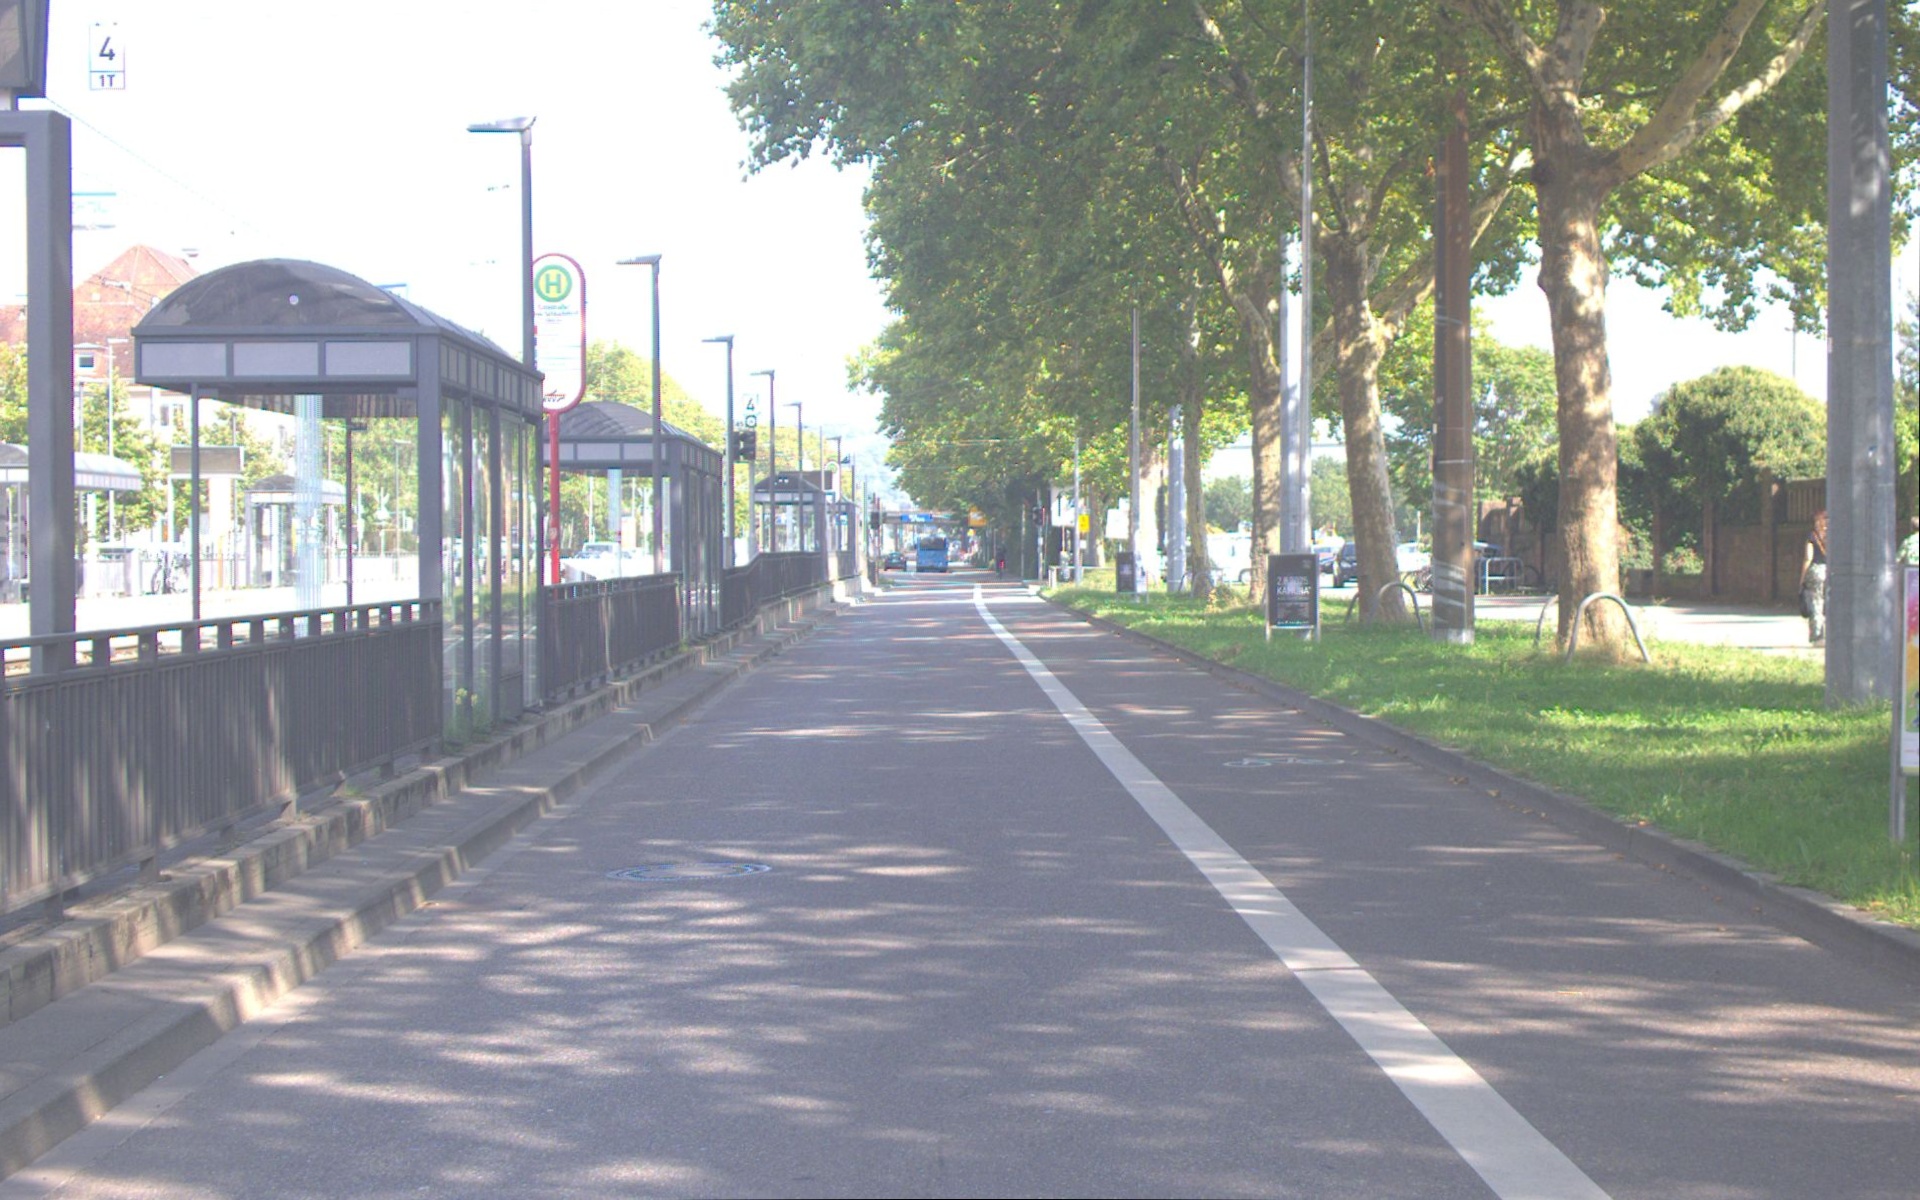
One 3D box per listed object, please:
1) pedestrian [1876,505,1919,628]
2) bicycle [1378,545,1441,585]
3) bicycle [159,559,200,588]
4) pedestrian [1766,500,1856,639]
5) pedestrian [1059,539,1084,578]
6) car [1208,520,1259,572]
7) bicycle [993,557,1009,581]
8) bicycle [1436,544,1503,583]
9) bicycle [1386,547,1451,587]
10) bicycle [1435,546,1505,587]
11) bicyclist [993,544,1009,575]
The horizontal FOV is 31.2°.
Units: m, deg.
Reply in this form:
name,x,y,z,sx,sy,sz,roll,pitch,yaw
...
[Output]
name,x,y,z,sx,sy,sz,roll,pitch,yaw
pedestrian,12.615,-0.453,45.247,0.806,1.598,0.947,-2,1,0
bicycle,11.628,-0.897,88.913,0.505,0.966,1.661,-3,1,-42
bicycle,-18.279,-0.616,80.511,0.477,0.660,1.613,-1,1,4
pedestrian,10.315,-0.373,41.710,0.806,1.630,0.947,-2,1,0
pedestrian,4.630,-1.733,142.526,0.626,1.612,0.843,0,1,37
car,11.073,-2.180,139.380,1.722,2.041,4.462,-1,1,0
bicycle,1.929,-1.462,162.137,0.715,1.104,2.509,1,1,0
bicycle,13.331,-0.953,89.915,1.656,0.966,0.506,-2,1,2
bicycle,11.684,-0.848,87.637,0.505,0.966,1.661,-3,1,-42
bicycle,12.630,-0.833,85.222,1.656,0.966,0.506,-2,1,5
bicyclist,1.927,-1.919,162.086,0.705,1.456,1.009,1,0,0
